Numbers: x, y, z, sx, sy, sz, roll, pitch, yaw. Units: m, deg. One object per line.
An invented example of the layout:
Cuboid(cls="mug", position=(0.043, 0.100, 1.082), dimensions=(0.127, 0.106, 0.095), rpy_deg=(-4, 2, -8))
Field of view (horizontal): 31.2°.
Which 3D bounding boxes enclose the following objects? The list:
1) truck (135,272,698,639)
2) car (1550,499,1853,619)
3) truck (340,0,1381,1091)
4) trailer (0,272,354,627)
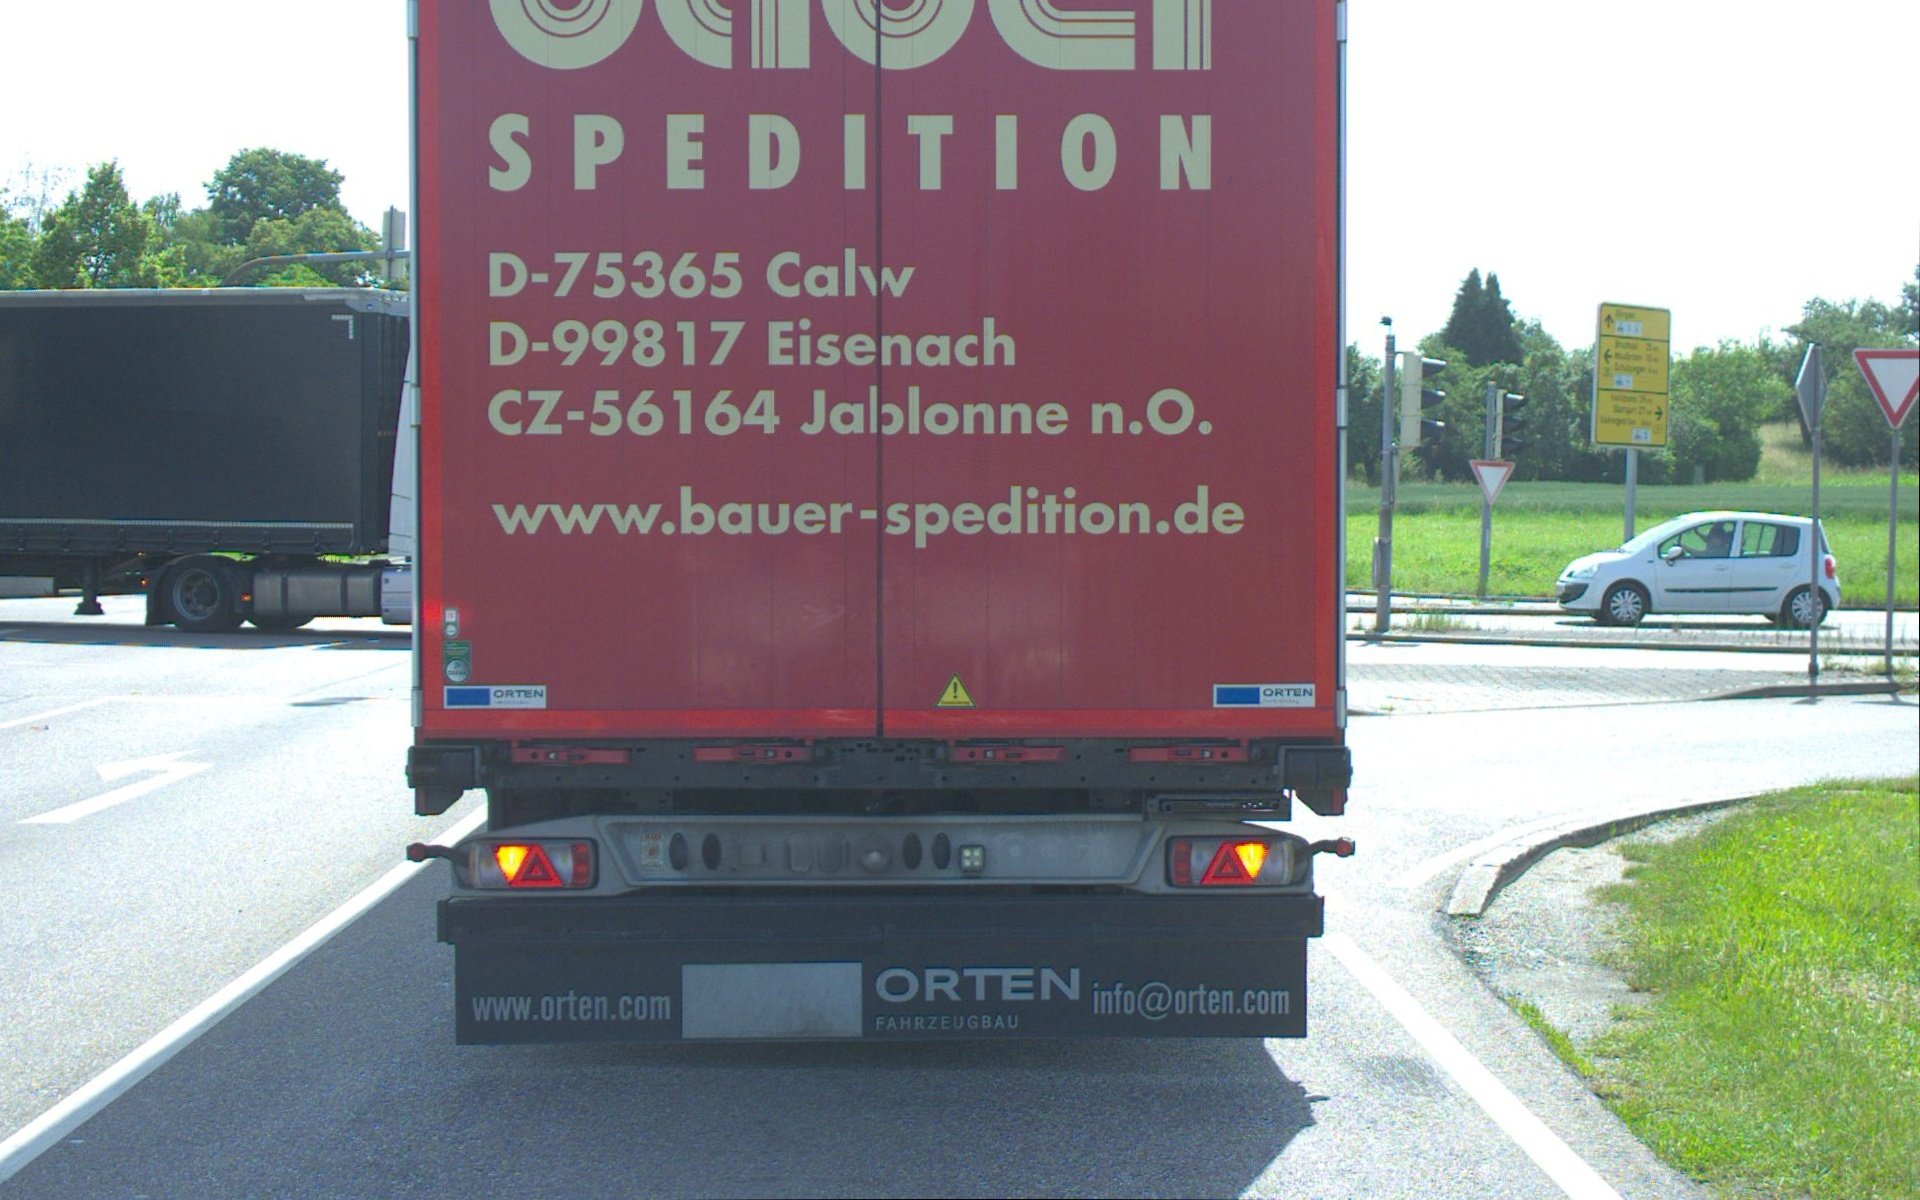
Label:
Cuboid(cls="truck", position=(-6.289, -1.709, 40.102), dimensions=(5.829, 4.047, 2.797), rpy_deg=(1, 2, 14))
Cuboid(cls="car", position=(10.276, -0.567, 47.843), dimensions=(3.827, 1.628, 1.761), rpy_deg=(0, 0, 1))
Cuboid(cls="truck", position=(-0.359, -0.881, 17.429), dimensions=(2.734, 3.911, 16.627), rpy_deg=(1, 2, -1))
Cuboid(cls="trailer", position=(-14.348, -1.932, 42.517), dimensions=(13.695, 4.047, 2.796), rpy_deg=(2, 2, 17))
